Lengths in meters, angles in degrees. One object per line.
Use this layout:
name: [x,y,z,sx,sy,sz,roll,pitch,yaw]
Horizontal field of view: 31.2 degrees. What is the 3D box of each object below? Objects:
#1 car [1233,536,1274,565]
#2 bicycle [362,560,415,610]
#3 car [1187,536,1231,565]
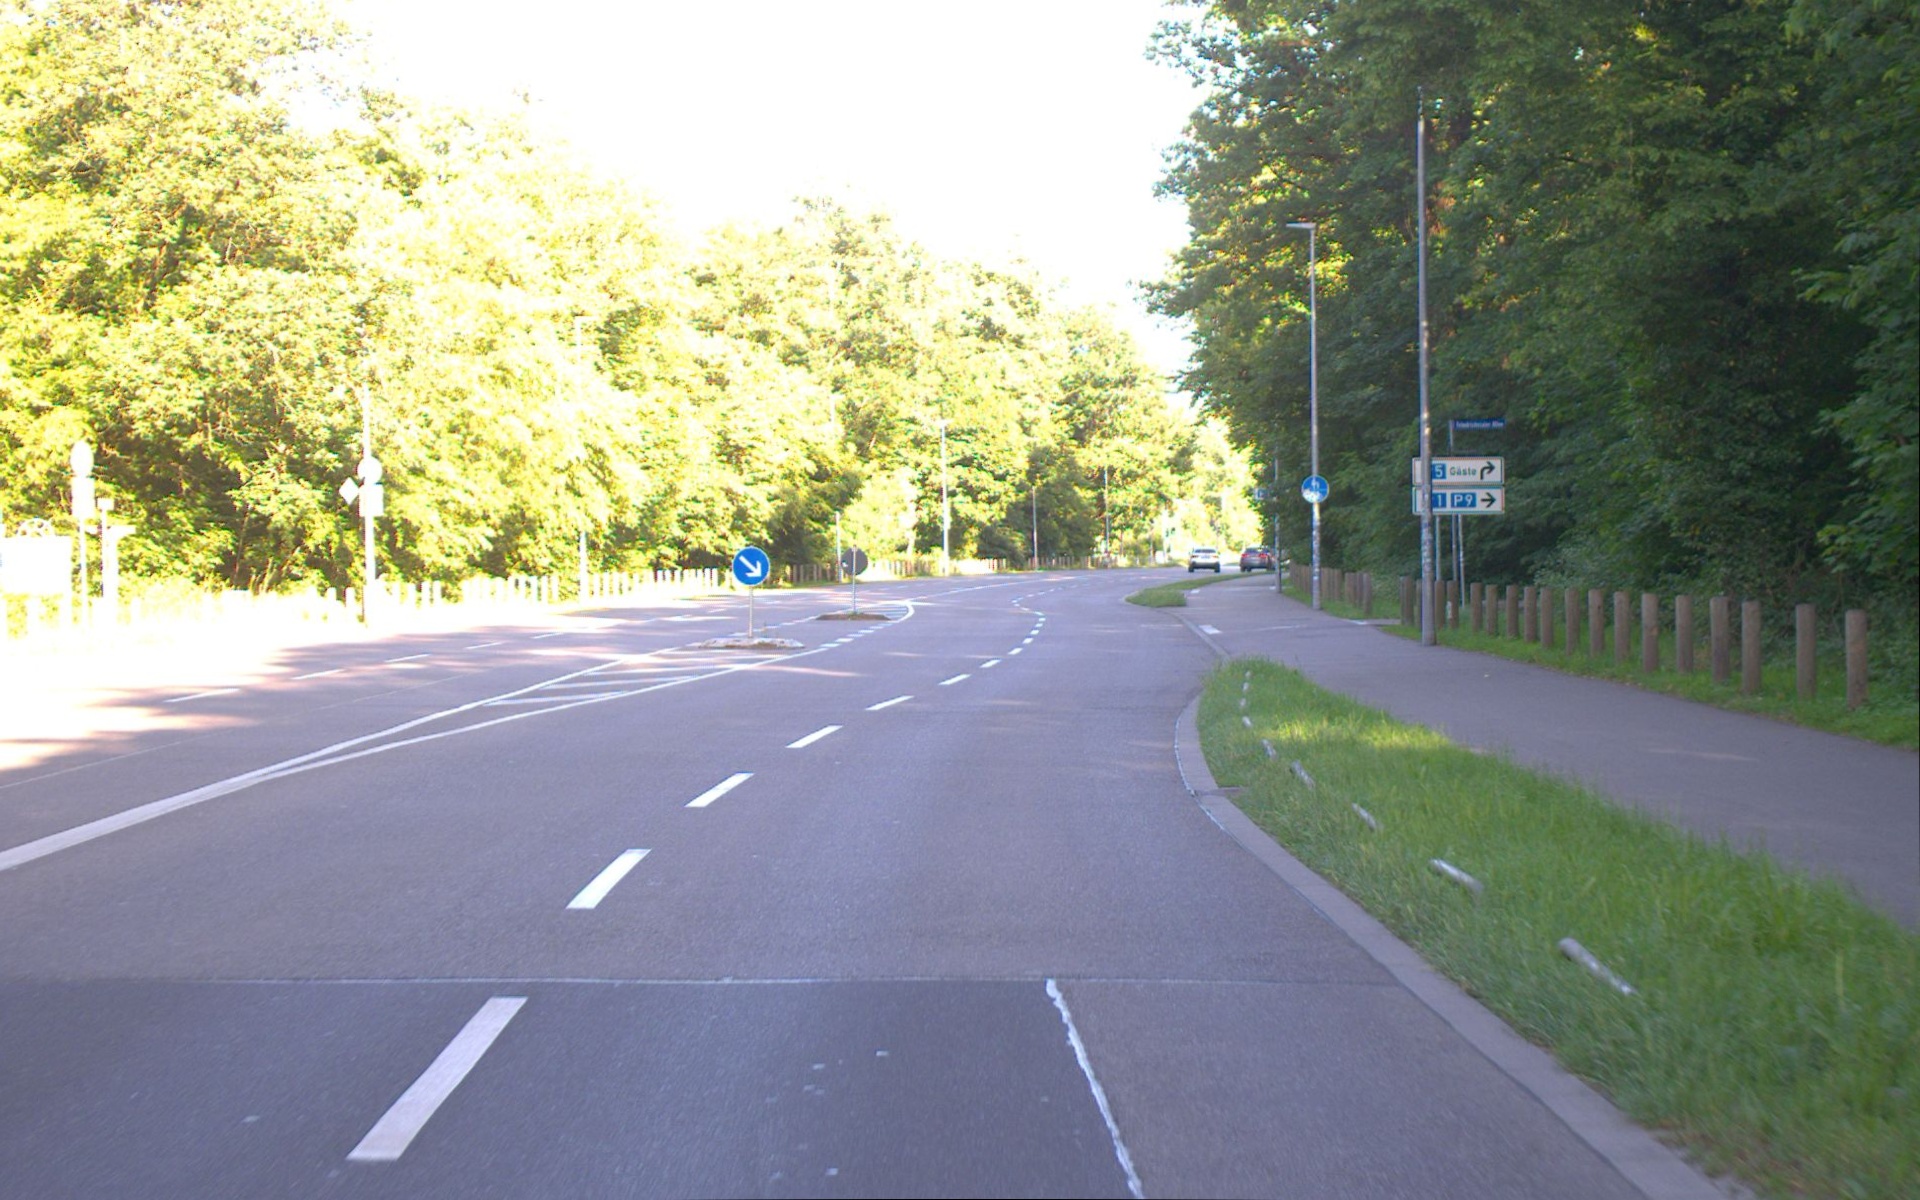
car: [18.269,-3.098,213.894,1.881,1.759,3.997,-1,1,15]
bicycle: [-13.166,-0.350,79.283,0.401,1.128,2.218,1,1,12]
car: [15.029,-2.981,206.994,1.881,1.703,3.997,-1,1,15]
